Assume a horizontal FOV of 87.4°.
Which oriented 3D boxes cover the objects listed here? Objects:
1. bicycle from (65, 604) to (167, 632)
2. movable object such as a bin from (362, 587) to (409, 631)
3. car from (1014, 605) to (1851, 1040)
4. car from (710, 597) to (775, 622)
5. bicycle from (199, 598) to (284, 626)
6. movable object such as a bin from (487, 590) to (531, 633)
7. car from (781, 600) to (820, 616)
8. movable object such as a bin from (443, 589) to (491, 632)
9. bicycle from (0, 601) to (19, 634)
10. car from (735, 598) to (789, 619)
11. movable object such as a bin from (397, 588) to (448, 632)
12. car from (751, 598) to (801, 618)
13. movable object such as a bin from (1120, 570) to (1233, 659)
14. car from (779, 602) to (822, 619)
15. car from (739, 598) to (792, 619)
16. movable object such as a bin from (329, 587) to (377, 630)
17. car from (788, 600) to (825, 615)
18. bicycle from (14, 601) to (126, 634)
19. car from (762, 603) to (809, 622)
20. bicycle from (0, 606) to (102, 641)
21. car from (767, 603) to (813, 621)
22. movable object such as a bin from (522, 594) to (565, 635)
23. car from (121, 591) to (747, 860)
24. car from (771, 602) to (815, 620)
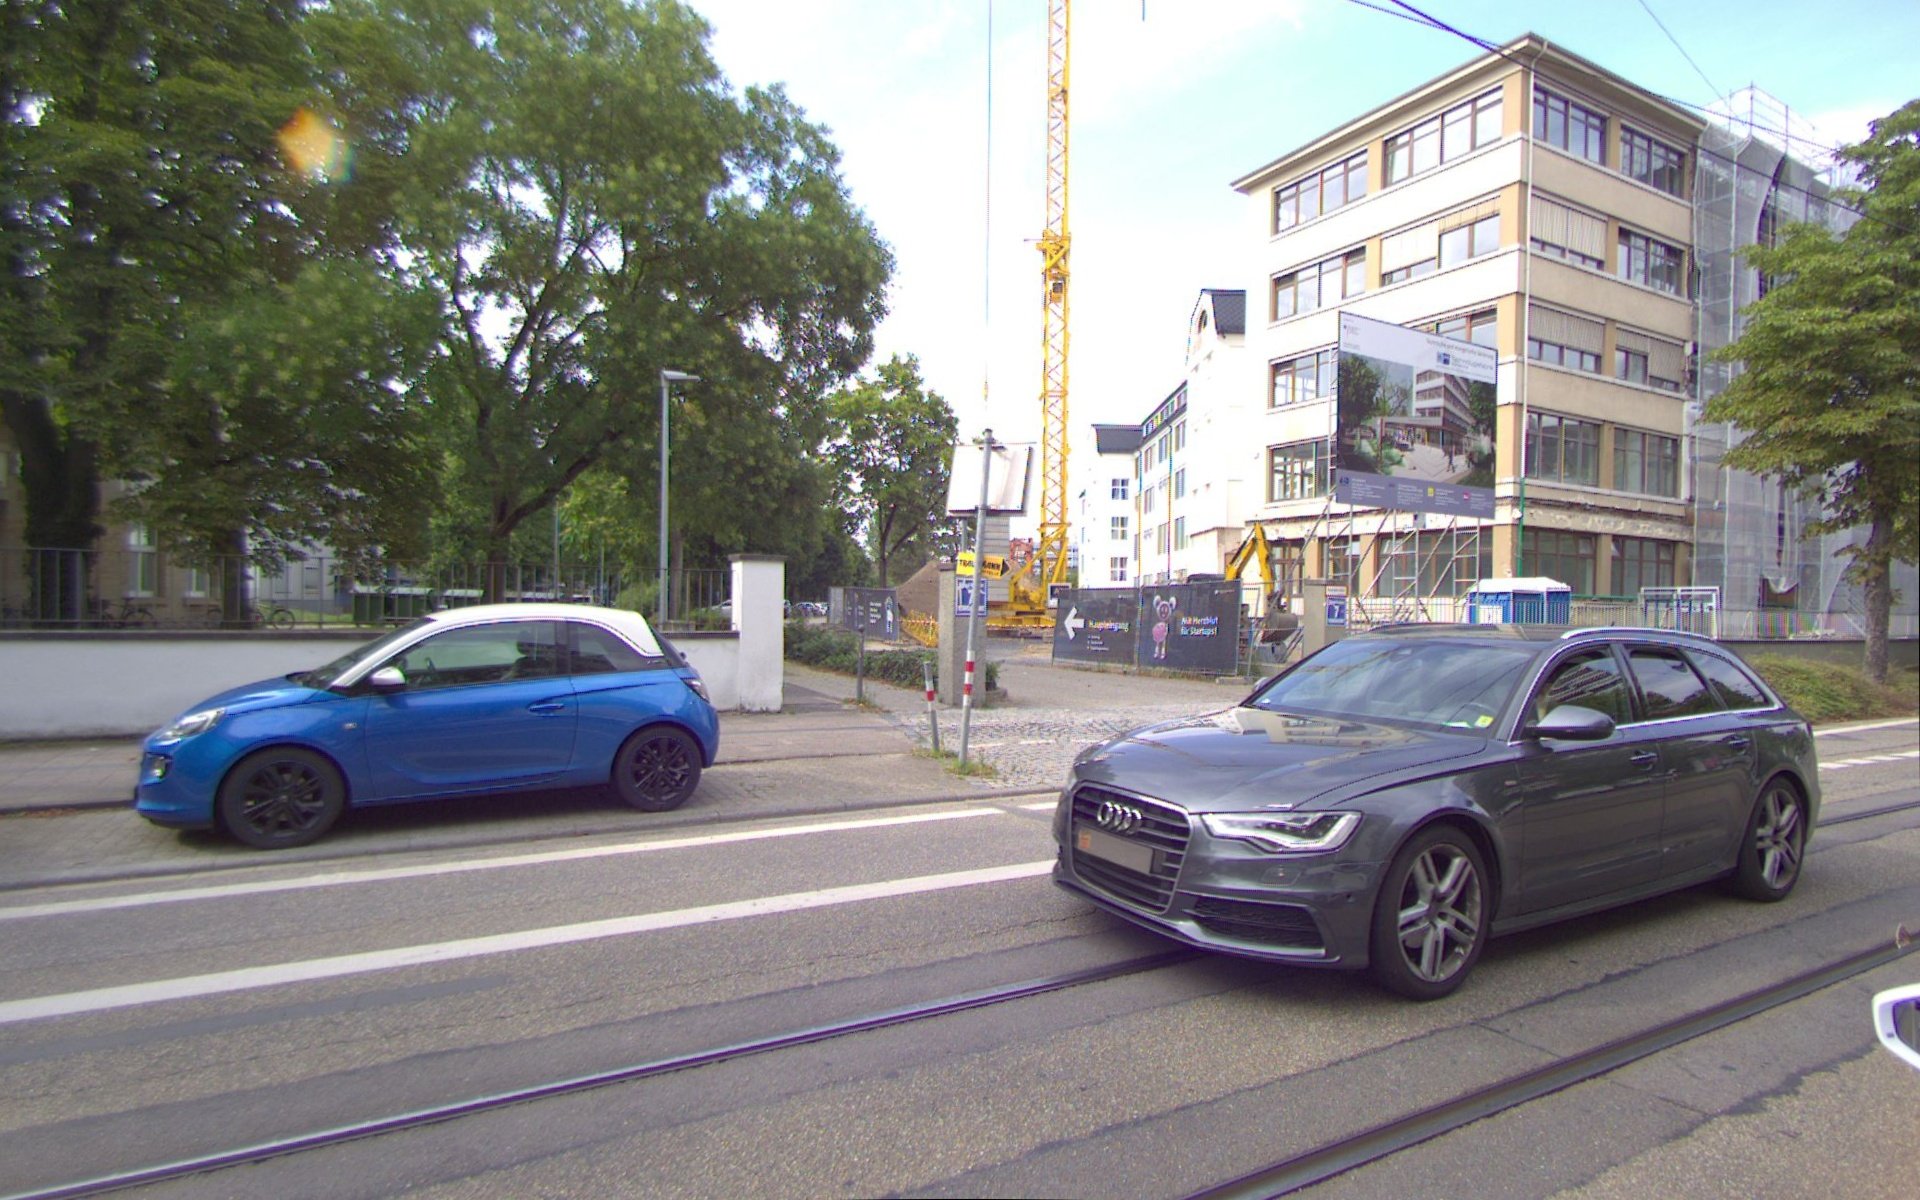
[{"bbox_3d":[-22.471,0.472,26.791,2.028,0.718,0.707,1,1,-37],"label":"bicycle"},{"bbox_3d":[-19.086,0.292,33.398,1.001,1.393,0.970,1,1,-3],"label":"movable object such as a bin"},{"bbox_3d":[2.665,0.802,5.365,4.500,1.467,1.826,1,0,-30],"label":"car"},{"bbox_3d":[-13.959,0.583,64.518,3.927,1.518,1.911,1,0,-9],"label":"car"},{"bbox_3d":[-22.181,0.370,31.022,2.010,0.783,0.713,1,1,-10],"label":"bicycle"},{"bbox_3d":[-15.022,0.386,33.473,1.073,1.393,0.861,1,1,-3],"label":"movable object such as a bin"},{"bbox_3d":[-16.557,0.809,104.292,3.927,1.518,1.911,1,0,-9],"label":"car"},{"bbox_3d":[-16.444,0.352,33.524,1.180,1.393,0.861,1,1,-3],"label":"movable object such as a bin"},{"bbox_3d":[-21.888,0.368,21.831,2.010,0.718,0.713,1,1,-10],"label":"bicycle"},{"bbox_3d":[-14.908,0.643,75.888,3.927,1.518,1.911,1,0,-9],"label":"car"},{"bbox_3d":[-17.864,0.320,33.397,1.180,1.393,0.970,1,1,-3],"label":"movable object such as a bin"},{"bbox_3d":[-15.063,0.630,82.316,3.927,1.518,1.911,1,0,-9],"label":"car"},{"bbox_3d":[5.392,0.353,25.162,1.935,2.095,1.979,1,0,-27],"label":"movable object such as a bin"},{"bbox_3d":[-15.086,0.950,94.927,3.927,1.518,1.911,1,0,-9],"label":"car"},{"bbox_3d":[-15.299,0.675,79.174,3.927,1.518,1.911,1,0,-9],"label":"car"},{"bbox_3d":[-20.155,0.267,33.364,1.001,1.393,0.970,1,1,-3],"label":"movable object such as a bin"},{"bbox_3d":[-16.536,0.771,108.409,3.927,1.518,1.911,1,0,-9],"label":"car"},{"bbox_3d":[-22.154,0.434,25.041,2.010,0.783,0.713,1,1,-10],"label":"bicycle"},{"bbox_3d":[-14.859,1.060,85.752,3.927,1.518,1.911,1,0,-9],"label":"car"},{"bbox_3d":[-21.966,0.564,24.101,2.010,0.783,0.713,1,1,-10],"label":"bicycle"},{"bbox_3d":[-14.989,1.027,88.556,3.927,1.518,1.911,1,0,-9],"label":"car"},{"bbox_3d":[-13.788,0.469,33.251,1.073,1.290,0.861,1,1,-3],"label":"movable object such as a bin"},{"bbox_3d":[-3.591,0.738,7.345,3.634,1.507,1.685,1,1,-30],"label":"car"},{"bbox_3d":[-15.288,0.981,92.261,3.927,1.518,1.911,1,0,-9],"label":"car"}]
